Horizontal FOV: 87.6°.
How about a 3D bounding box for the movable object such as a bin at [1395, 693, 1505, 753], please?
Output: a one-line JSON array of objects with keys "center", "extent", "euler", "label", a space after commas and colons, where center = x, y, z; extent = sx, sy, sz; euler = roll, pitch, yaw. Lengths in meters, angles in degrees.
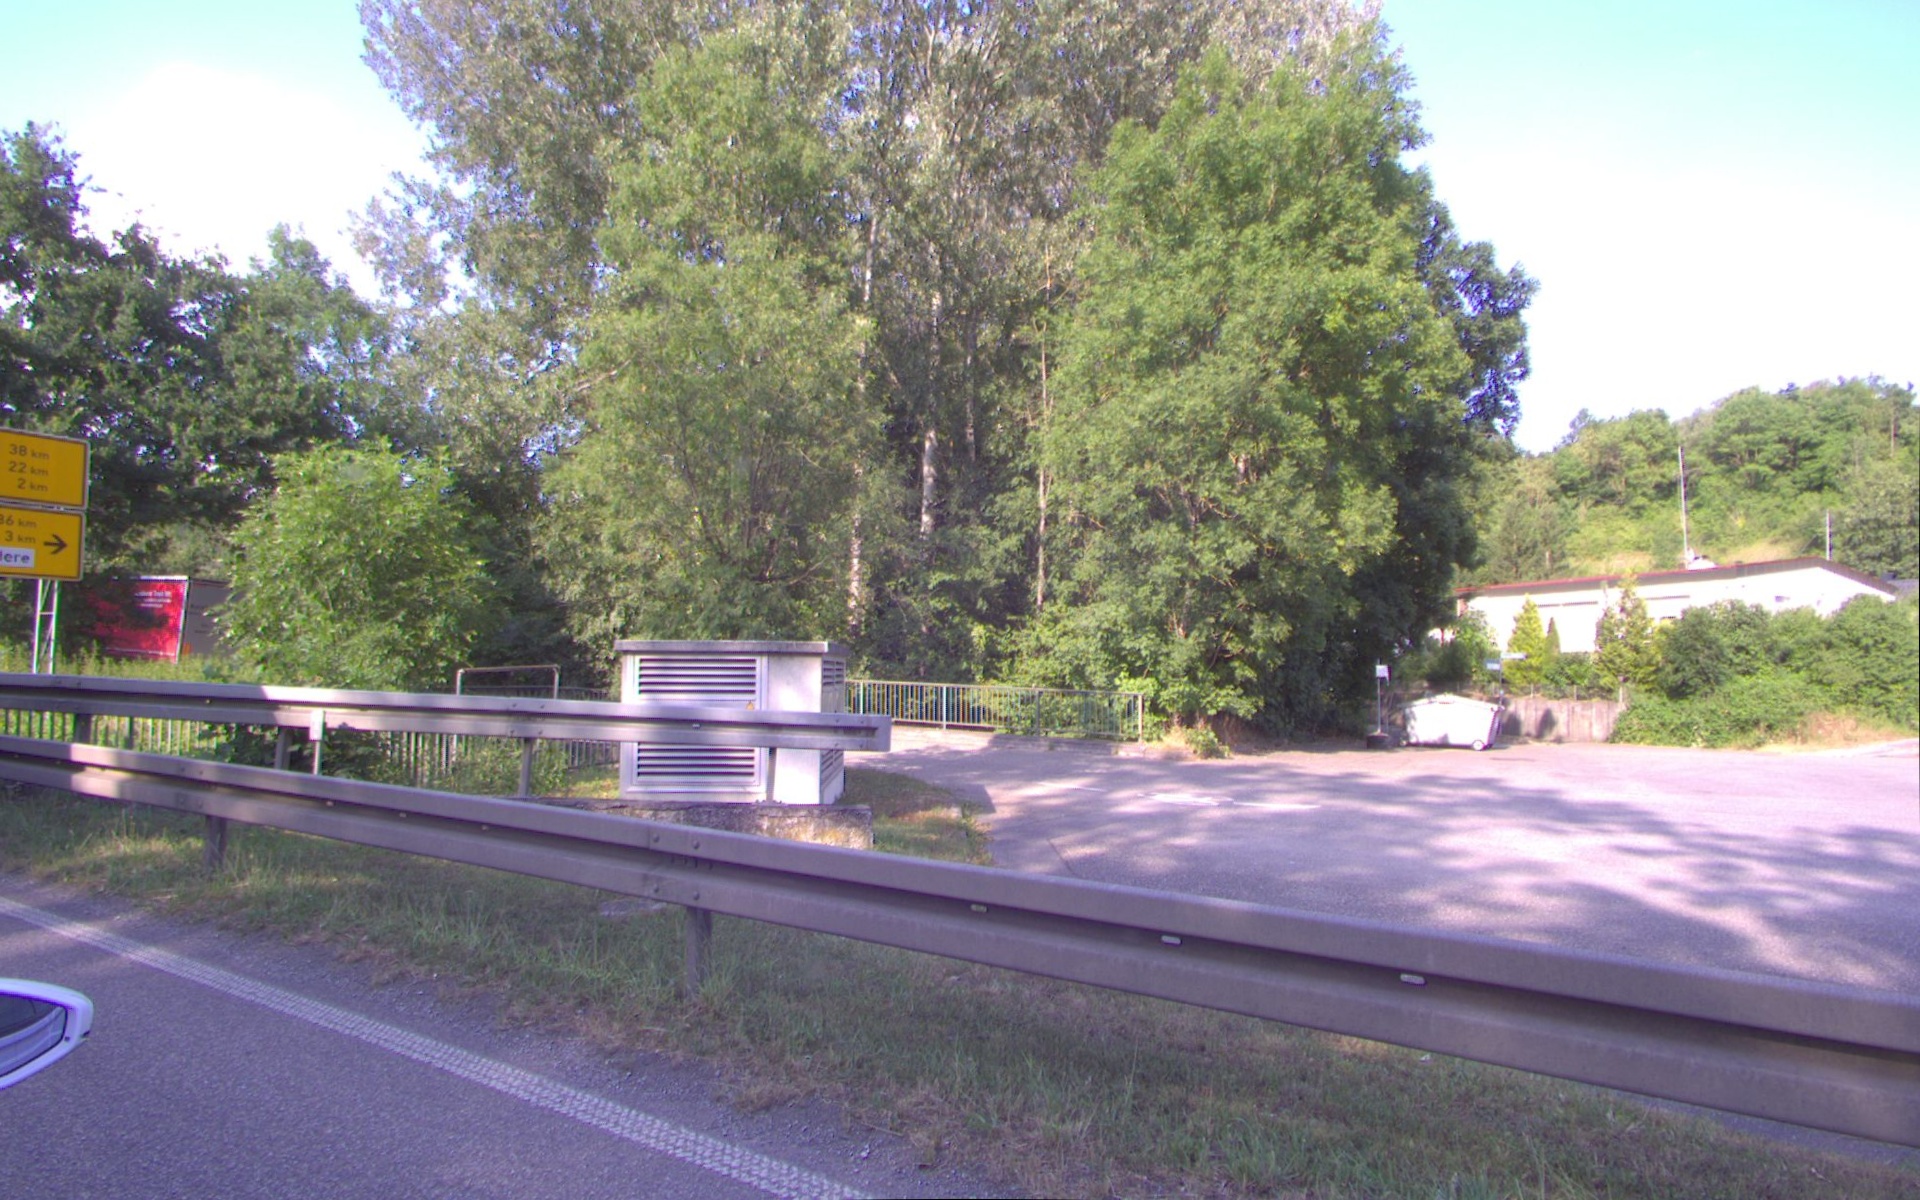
[{"center": [13.064, 3.258, 26.700], "extent": [2.521, 1.436, 1.265], "euler": [-1, -6, 32], "label": "movable object such as a bin"}]
